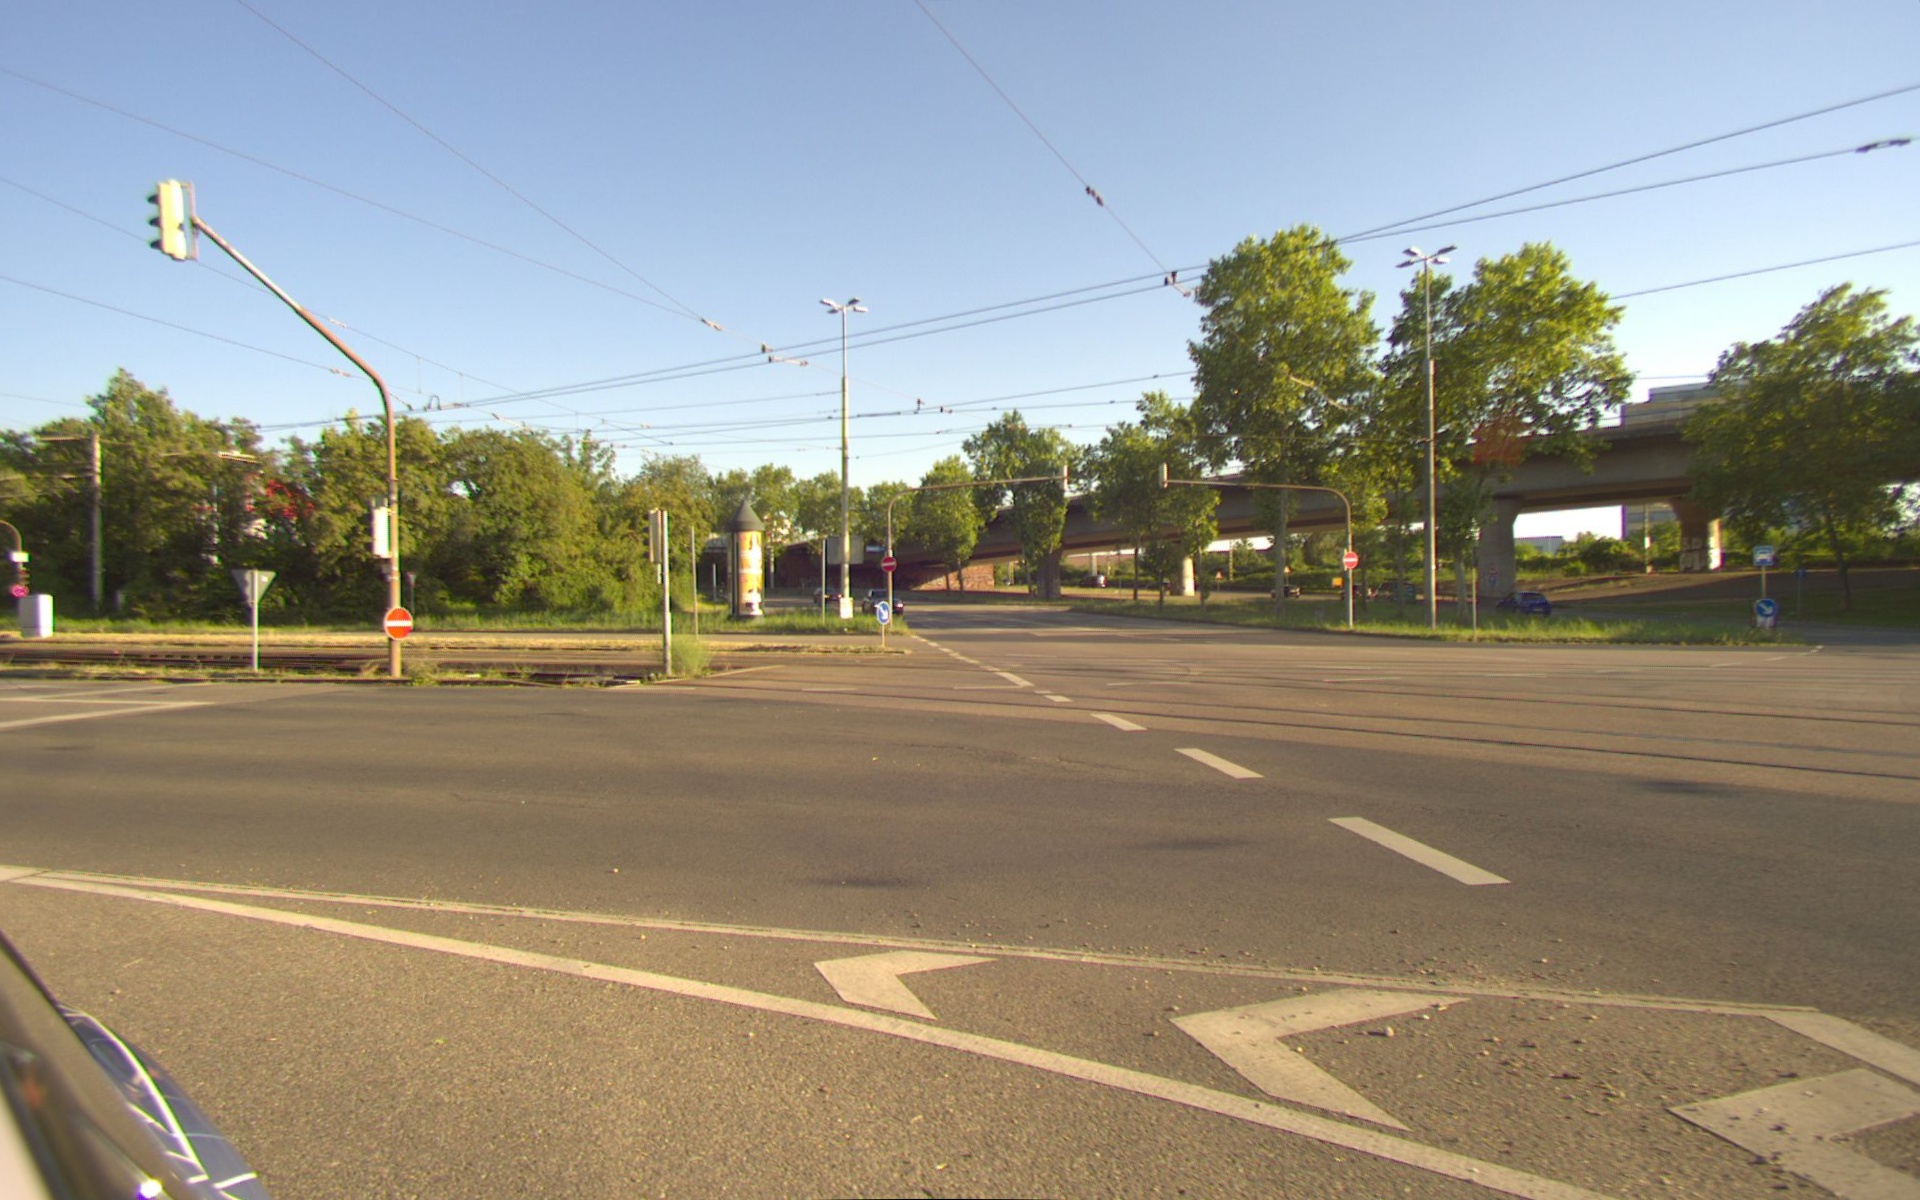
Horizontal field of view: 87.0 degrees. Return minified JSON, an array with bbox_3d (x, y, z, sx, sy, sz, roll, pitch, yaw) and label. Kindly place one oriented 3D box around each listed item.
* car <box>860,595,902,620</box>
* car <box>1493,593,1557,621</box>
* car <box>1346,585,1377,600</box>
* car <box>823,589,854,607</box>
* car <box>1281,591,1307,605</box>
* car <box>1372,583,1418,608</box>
[{"bbox_3d":[-4.905,0.478,62.708,1.967,1.497,4.010,-1,-1,-13],"label":"car"},{"bbox_3d":[33.324,0.388,59.818,1.977,1.570,3.926,0,0,8],"label":"car"},{"bbox_3d":[38.640,-0.715,97.450,1.675,1.433,3.729,0,0,4],"label":"car"},{"bbox_3d":[-11.285,-0.168,93.745,1.965,1.497,4.013,-1,-1,-20],"label":"car"},{"bbox_3d":[35.602,-0.231,107.909,1.674,1.433,3.731,0,0,2],"label":"car"},{"bbox_3d":[34.469,-0.346,80.357,1.975,1.920,4.698,0,0,5],"label":"car"}]
